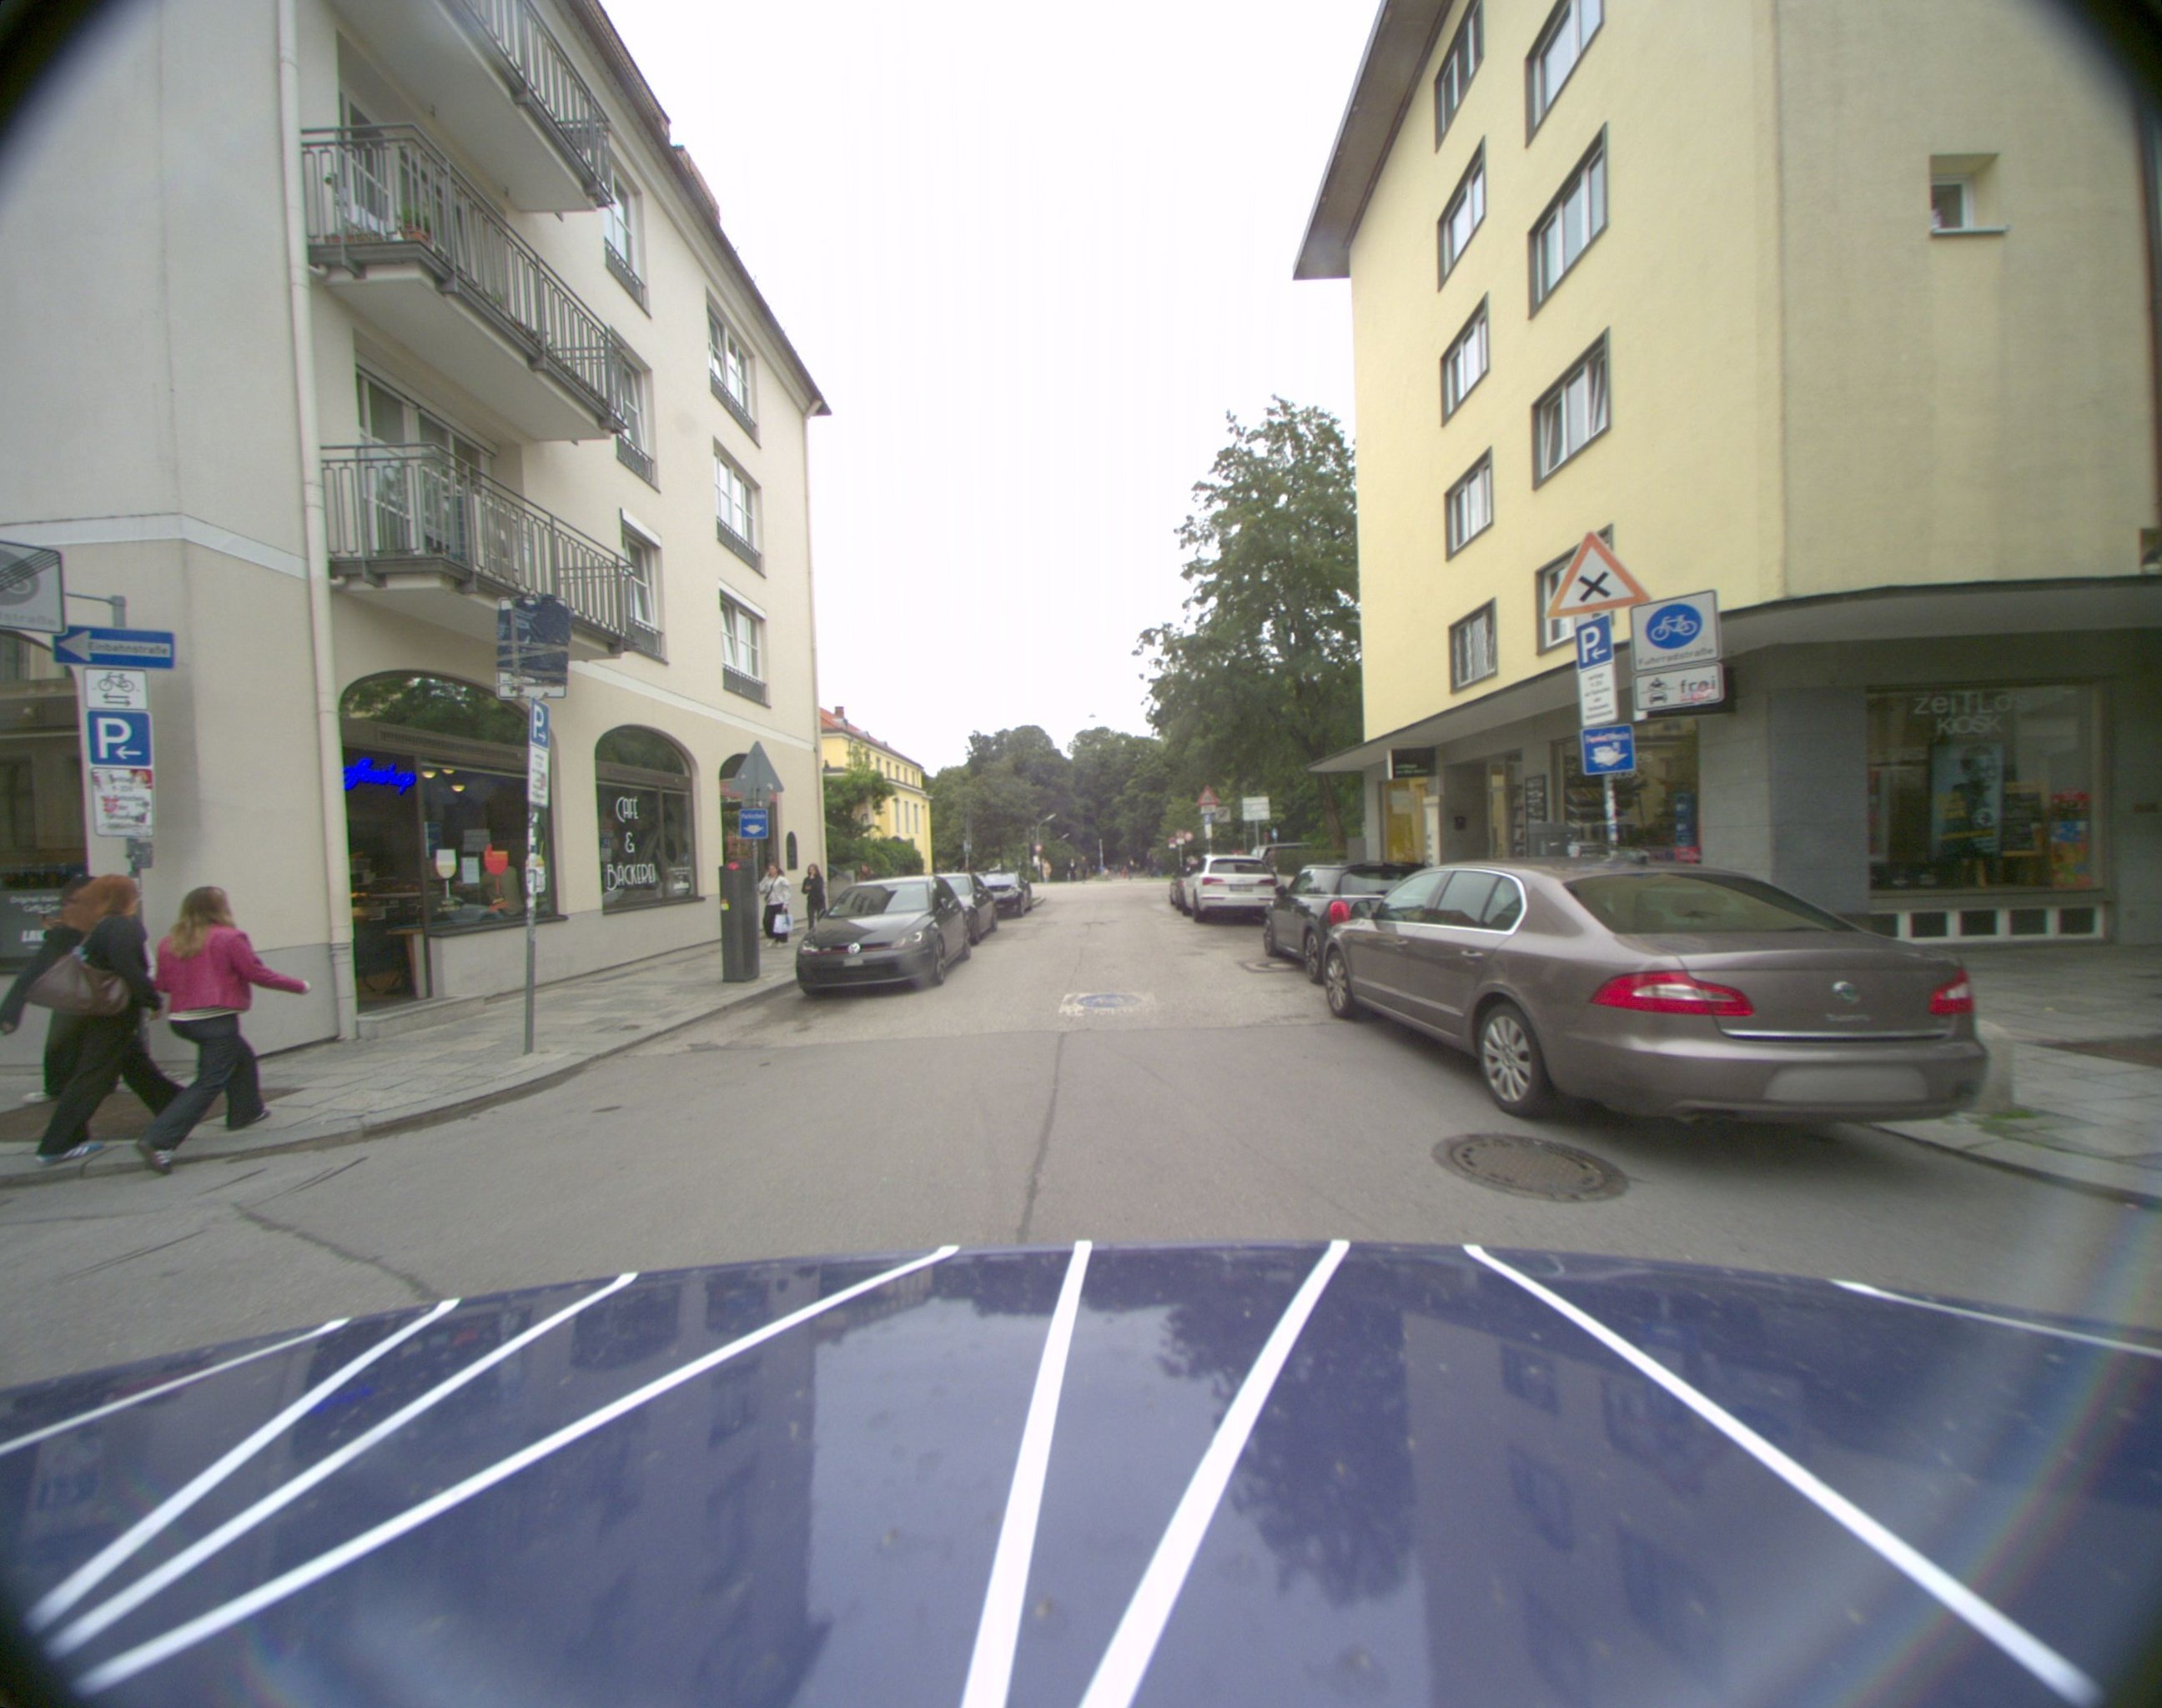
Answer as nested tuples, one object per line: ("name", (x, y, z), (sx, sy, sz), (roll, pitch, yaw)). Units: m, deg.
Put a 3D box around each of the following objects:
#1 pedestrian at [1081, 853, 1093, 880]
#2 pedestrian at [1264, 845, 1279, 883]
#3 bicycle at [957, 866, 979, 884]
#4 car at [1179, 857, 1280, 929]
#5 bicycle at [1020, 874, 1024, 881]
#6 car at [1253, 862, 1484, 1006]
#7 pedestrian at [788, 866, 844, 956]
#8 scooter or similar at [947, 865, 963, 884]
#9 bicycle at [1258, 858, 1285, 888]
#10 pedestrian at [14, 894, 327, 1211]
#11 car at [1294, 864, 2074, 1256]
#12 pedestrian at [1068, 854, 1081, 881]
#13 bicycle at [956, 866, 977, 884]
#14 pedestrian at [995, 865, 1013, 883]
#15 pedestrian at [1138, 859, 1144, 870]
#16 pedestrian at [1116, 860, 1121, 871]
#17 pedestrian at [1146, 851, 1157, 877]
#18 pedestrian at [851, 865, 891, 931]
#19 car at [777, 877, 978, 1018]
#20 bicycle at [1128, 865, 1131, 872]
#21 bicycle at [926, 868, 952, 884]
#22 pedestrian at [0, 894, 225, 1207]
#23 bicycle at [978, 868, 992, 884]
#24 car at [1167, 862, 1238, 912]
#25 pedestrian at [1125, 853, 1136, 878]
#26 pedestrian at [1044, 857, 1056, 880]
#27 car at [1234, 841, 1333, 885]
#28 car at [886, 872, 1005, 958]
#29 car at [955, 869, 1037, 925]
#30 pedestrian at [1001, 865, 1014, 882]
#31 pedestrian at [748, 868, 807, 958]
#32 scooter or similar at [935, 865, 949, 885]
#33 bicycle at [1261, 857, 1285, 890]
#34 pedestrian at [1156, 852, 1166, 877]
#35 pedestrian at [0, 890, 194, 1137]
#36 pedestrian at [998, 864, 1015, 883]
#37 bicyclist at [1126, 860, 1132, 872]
("pedestrian", (0.399, 0.786, 48.288), (0.639, 1.662, 0.774), (-4, -2, 3))
("pedestrian", (9.359, 0.496, 37.274), (0.560, 1.788, 0.641), (-2, -1, 20))
("bicycle", (-7.437, 1.379, 50.174), (0.169, 1.191, 1.658), (-1, -2, 43))
("car", (3.580, 0.910, 19.034), (1.807, 1.574, 4.339), (-1, -1, 2))
("bicycle", (-5.595, 2.210, 72.209), (0.215, 0.671, 0.910), (0, -2, 5))
("car", (3.524, 0.884, 10.148), (1.683, 1.463, 4.098), (-1, 0, 3))
("pedestrian", (-5.177, 1.096, 14.903), (0.706, 1.652, 0.880), (-2, 2, 1))
("scooter or similar", (-8.011, 1.325, 48.352), (1.114, 1.205, 0.324), (-2, -1, 39))
("bicycle", (8.028, 0.768, 31.973), (0.582, 1.119, 2.301), (-3, 0, 26))
("pedestrian", (-5.385, 1.095, 4.591), (0.473, 1.616, 1.069), (-2, 2, 1))
("car", (3.111, 0.853, 5.507), (1.683, 1.463, 4.949), (-1, 0, -1))
("pedestrian", (-0.433, 0.840, 48.193), (0.686, 1.662, 0.774), (-4, -2, 3))
("bicycle", (-7.572, 1.391, 50.319), (0.202, 1.184, 1.658), (-1, -2, 43))
("pedestrian", (-5.562, 1.447, 55.016), (1.217, 1.239, 0.639), (-3, -2, -9))
("pedestrian", (9.159, 1.644, 116.279), (0.686, 1.662, 0.774), (-4, -2, 3))
("pedestrian", (5.920, 1.882, 120.349), (0.686, 1.662, 0.774), (-4, -2, 3))
("pedestrian", (5.170, 0.719, 55.529), (0.707, 1.892, 0.804), (-1, -1, 2))
("pedestrian", (-5.439, 1.127, 19.714), (0.706, 1.613, 0.880), (-2, 2, 1))
("car", (-2.665, 1.160, 11.000), (1.680, 1.416, 4.203), (-5, 0, 0))
("bicycle", (7.525, 2.317, 118.132), (0.483, 1.034, 1.946), (-2, 0, 5))
("bicycle", (-9.201, 1.431, 49.173), (1.656, 0.987, 0.248), (0, -1, -22))
("pedestrian", (-6.094, 1.096, 4.565), (0.660, 1.611, 0.979), (-2, 2, 1))
("bicycle", (-6.603, 1.505, 52.127), (0.307, 1.032, 1.657), (-1, -2, 17))
("car", (3.813, 0.996, 24.463), (1.750, 1.402, 4.098), (-1, 0, 2))
("pedestrian", (3.711, 0.881, 56.709), (0.751, 1.822, 1.115), (-1, -1, 2))
("pedestrian", (-2.285, 1.068, 55.891), (0.653, 1.676, 0.976), (-4, -2, 3))
("car", (10.298, 0.401, 38.726), (4.421, 1.990, 1.933), (-2, 2, -13))
("car", (-2.804, 1.221, 16.697), (1.650, 1.416, 4.509), (-5, 0, 1))
("car", (-2.532, 1.272, 23.773), (1.807, 1.402, 4.657), (-3, 0, 2))
("pedestrian", (-5.451, 1.447, 56.480), (0.887, 1.227, 0.550), (-3, -2, -9))
("pedestrian", (-5.933, 1.129, 14.891), (0.706, 1.652, 0.880), (-2, 2, 1))
("scooter or similar", (-8.847, 1.327, 48.318), (0.396, 1.240, 1.391), (-2, -1, 11))
("bicycle", (7.516, 0.755, 29.750), (0.563, 1.203, 1.854), (-3, 1, 5))
("pedestrian", (5.848, 0.783, 55.505), (0.634, 1.770, 0.801), (-1, -1, 2))
("pedestrian", (-7.102, 1.112, 5.488), (0.636, 1.638, 0.526), (-2, 2, -6))
("pedestrian", (-5.492, 1.436, 55.828), (1.178, 1.285, 0.639), (-3, -2, -9))
("bicyclist", (7.522, 1.859, 118.107), (0.856, 1.792, 0.767), (-1, 1, 4))
